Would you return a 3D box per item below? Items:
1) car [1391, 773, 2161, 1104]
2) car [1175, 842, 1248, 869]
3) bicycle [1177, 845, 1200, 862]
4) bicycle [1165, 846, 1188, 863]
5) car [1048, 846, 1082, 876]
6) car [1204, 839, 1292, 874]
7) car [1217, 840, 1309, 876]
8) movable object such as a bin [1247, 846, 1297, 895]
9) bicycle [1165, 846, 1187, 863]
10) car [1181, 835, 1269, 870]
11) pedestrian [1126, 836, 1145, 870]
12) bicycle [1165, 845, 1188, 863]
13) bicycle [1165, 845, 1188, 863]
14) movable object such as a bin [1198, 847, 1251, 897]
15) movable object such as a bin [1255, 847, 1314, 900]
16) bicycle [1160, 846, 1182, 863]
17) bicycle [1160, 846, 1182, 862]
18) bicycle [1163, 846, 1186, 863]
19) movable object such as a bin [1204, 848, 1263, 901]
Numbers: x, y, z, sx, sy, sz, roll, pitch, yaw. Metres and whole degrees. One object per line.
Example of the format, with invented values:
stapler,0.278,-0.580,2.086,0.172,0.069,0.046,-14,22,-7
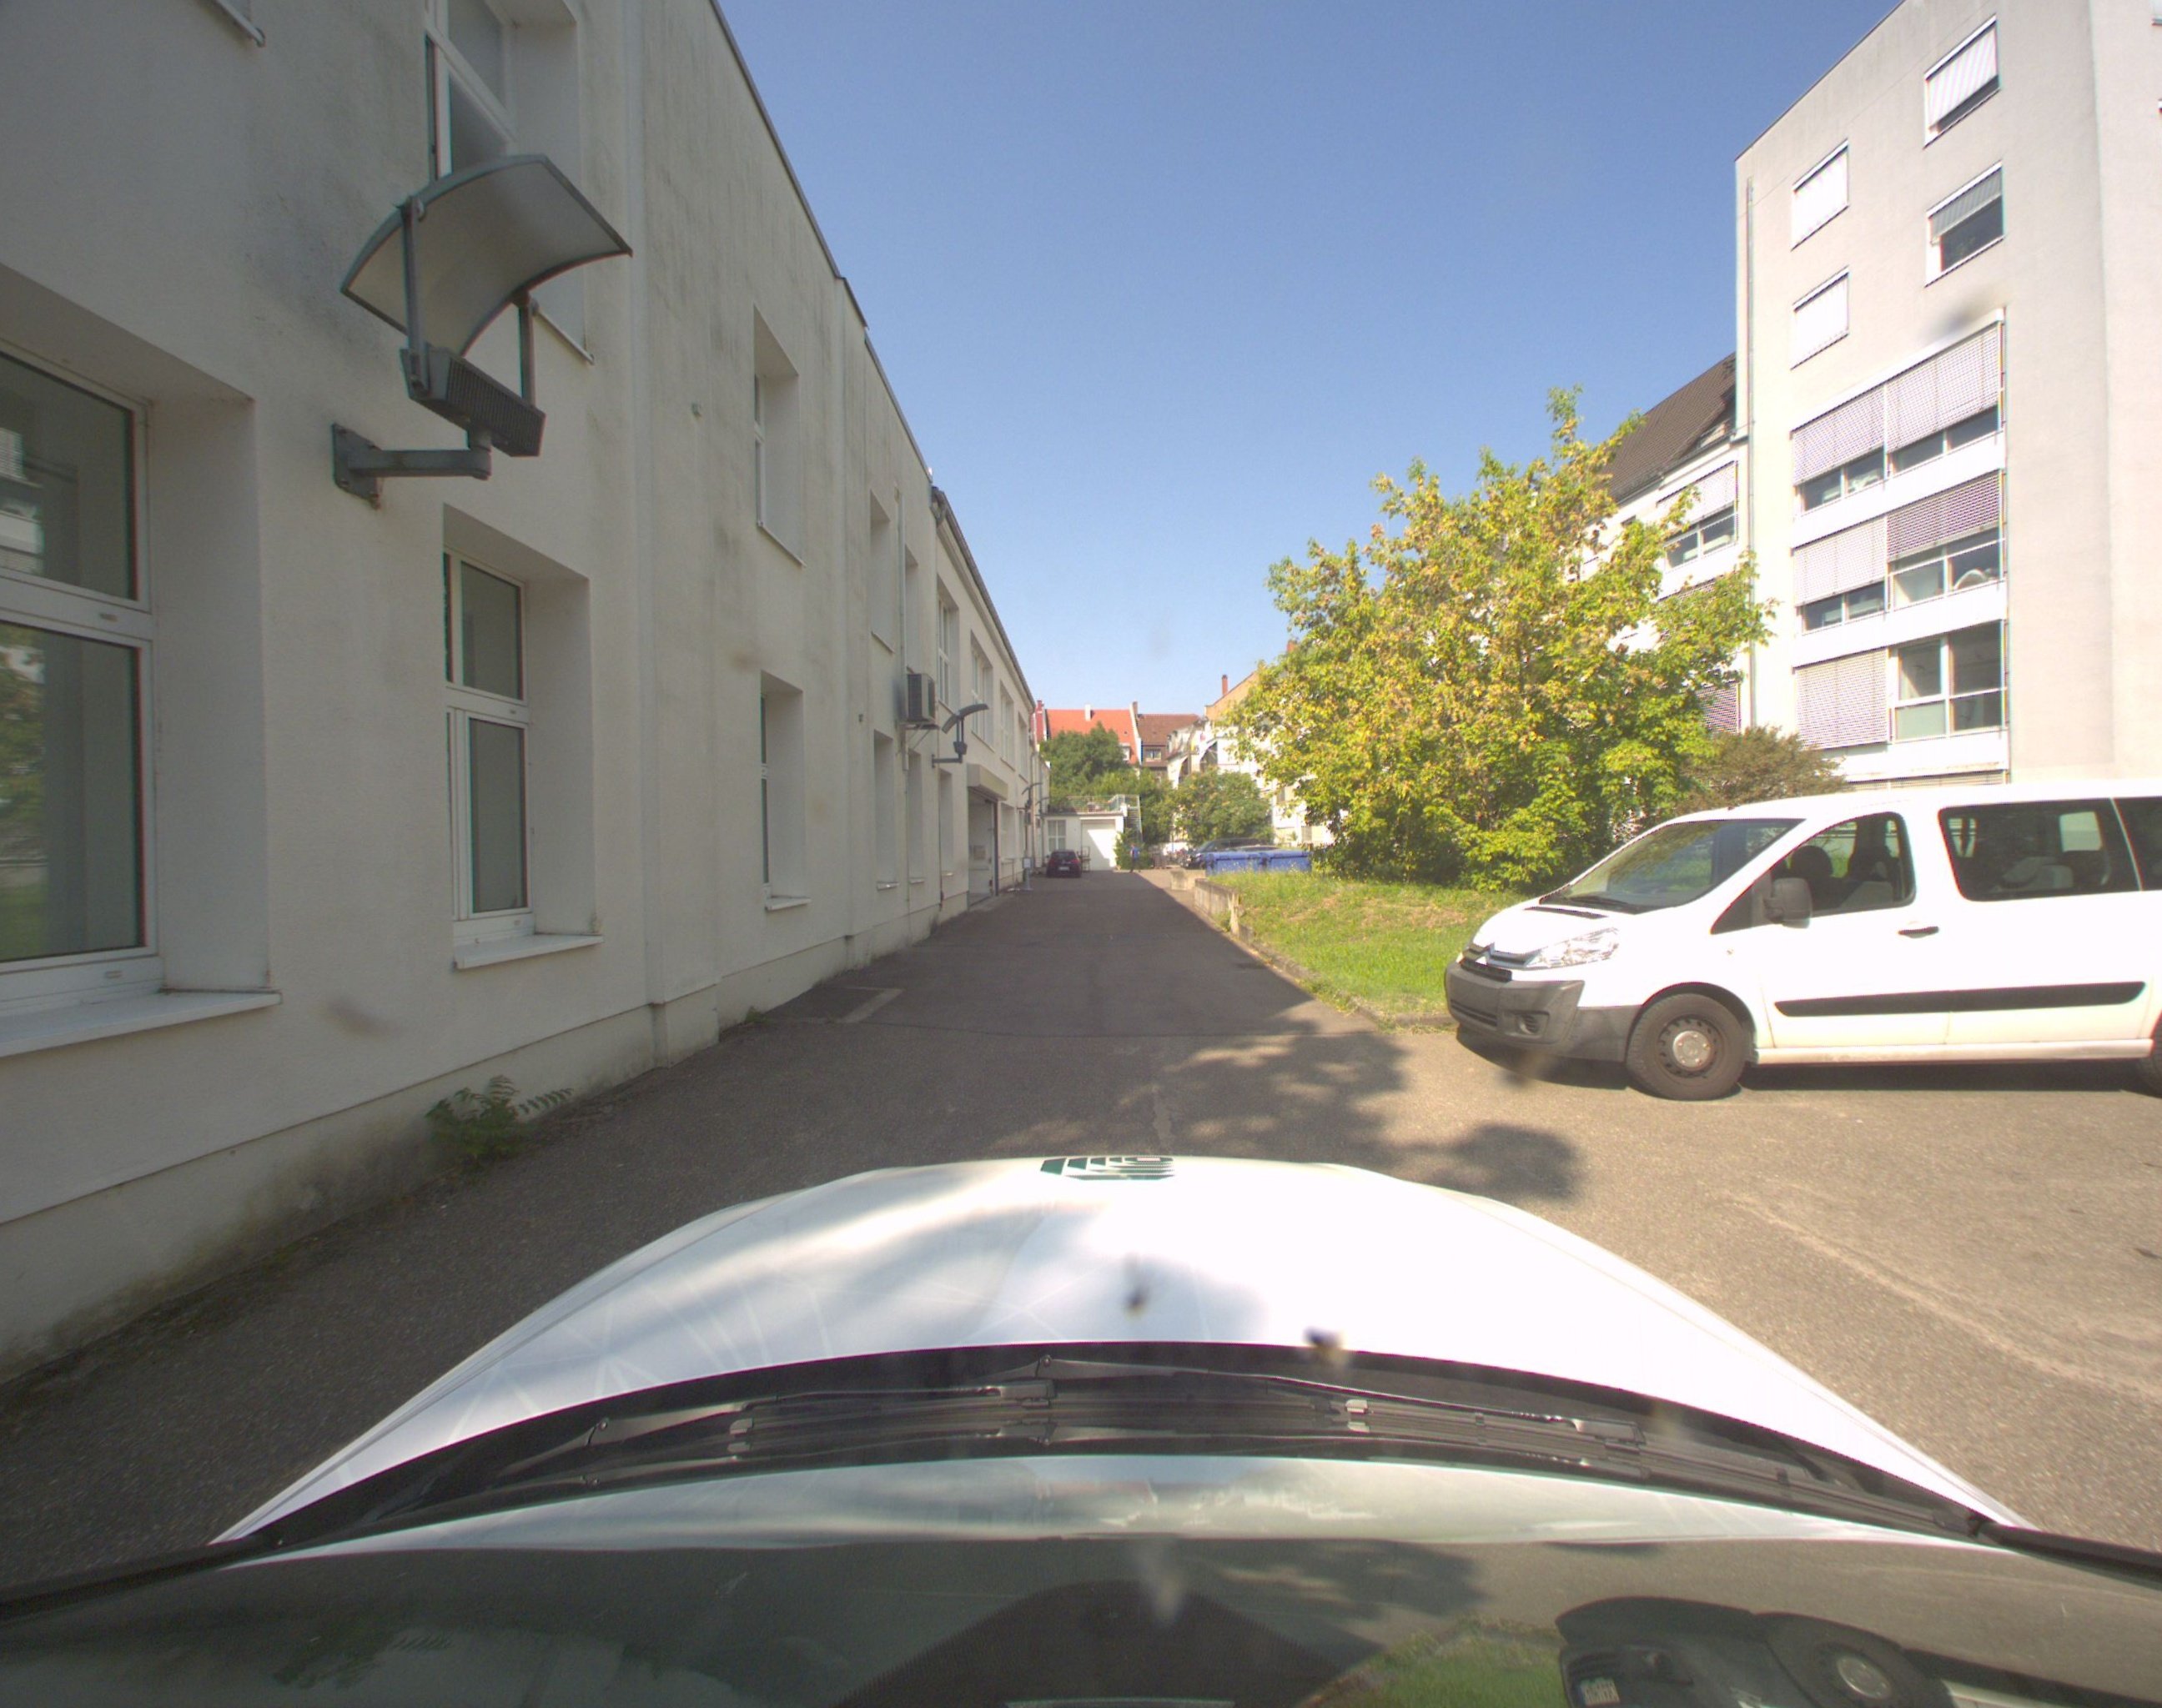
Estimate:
car,5.046,0.495,5.804,4.937,1.921,2.045,0,0,3
car,7.747,0.084,48.414,3.930,1.482,1.769,-2,0,-8
bicycle,8.022,-0.005,60.930,1.611,1.214,0.426,-2,0,14
bicycle,6.973,0.012,59.731,1.616,1.214,0.327,-2,0,2
car,-0.792,0.338,42.473,1.683,1.459,3.922,-1,0,0
car,8.437,0.102,41.316,4.106,1.691,1.770,-1,0,-2
car,8.568,0.188,38.494,3.855,1.589,1.877,-1,0,-4
movable object such as a bin,5.356,0.455,22.920,1.229,1.340,1.118,-1,0,4
bicycle,7.019,0.010,60.182,1.612,1.214,0.328,-2,0,11
car,8.011,-0.071,45.525,4.498,1.794,1.878,-2,0,-8
pedestrian,3.238,-0.071,48.321,0.890,2.013,0.776,-1,0,-22
bicycle,6.996,0.012,59.437,1.616,1.214,0.327,-2,0,2
bicycle,6.922,0.014,59.116,1.616,1.214,0.327,-2,0,2
movable object such as a bin,4.036,0.488,22.975,1.296,1.340,1.195,-1,0,0
movable object such as a bin,5.286,0.496,21.203,1.223,1.340,1.075,-1,0,-4
bicycle,6.777,0.011,61.226,1.618,1.214,0.424,-2,0,0
bicycle,6.884,0.006,62.462,1.620,1.214,0.423,-2,0,-4
bicycle,6.950,0.010,60.547,1.611,1.214,0.328,-2,0,14
movable object such as a bin,3.959,0.513,21.223,1.306,1.340,1.099,-1,0,-2
